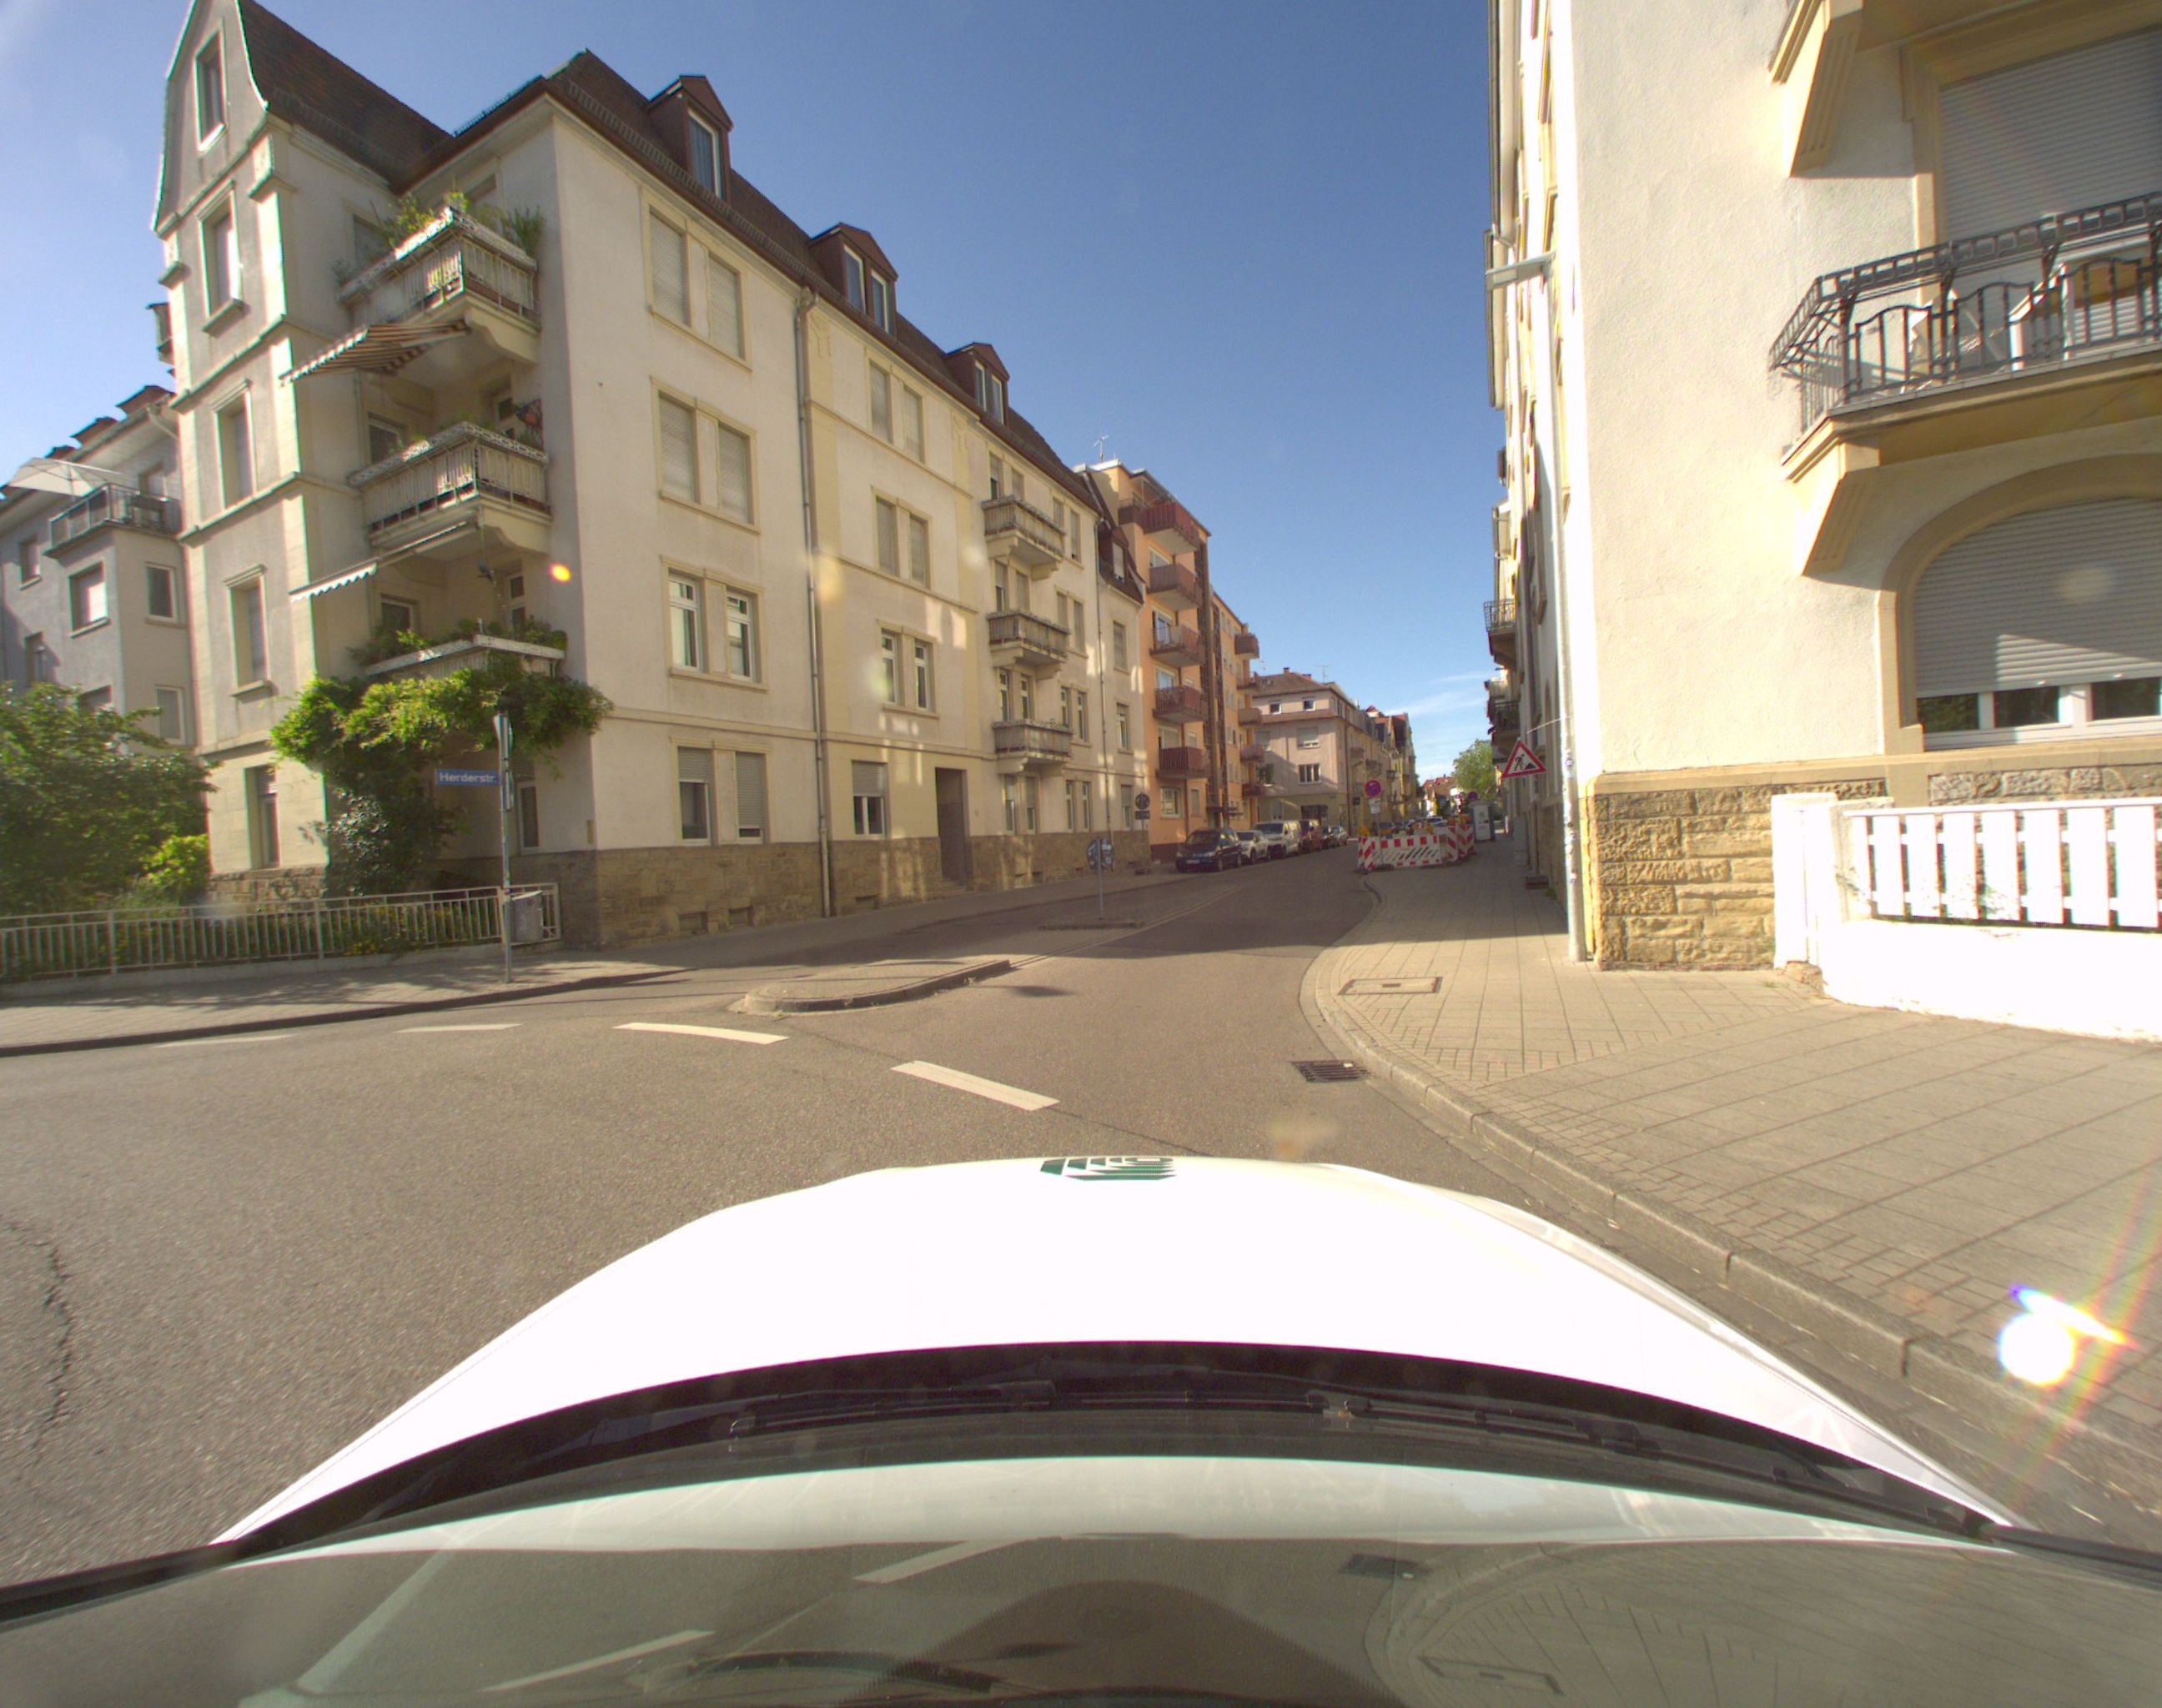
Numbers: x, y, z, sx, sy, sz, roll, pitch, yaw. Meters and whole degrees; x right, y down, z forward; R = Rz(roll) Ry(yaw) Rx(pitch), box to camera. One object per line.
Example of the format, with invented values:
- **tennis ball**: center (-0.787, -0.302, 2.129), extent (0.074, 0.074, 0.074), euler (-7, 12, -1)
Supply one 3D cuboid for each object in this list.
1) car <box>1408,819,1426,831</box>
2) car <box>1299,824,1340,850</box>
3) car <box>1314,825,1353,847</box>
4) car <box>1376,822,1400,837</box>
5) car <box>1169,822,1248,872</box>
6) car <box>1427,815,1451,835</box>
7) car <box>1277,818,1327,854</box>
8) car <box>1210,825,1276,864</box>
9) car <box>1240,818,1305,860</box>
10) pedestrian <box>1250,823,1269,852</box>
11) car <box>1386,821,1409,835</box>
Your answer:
- **car**: center (45.299, -3.860, 109.693), extent (1.985, 1.618, 4.514), euler (0, 2, 26)
- **car**: center (15.305, -1.093, 52.144), extent (1.746, 1.502, 4.024), euler (-3, 1, 26)
- **car**: center (17.769, -1.279, 57.178), extent (1.746, 1.377, 4.506), euler (-1, 2, 28)
- **car**: center (30.753, -2.458, 81.603), extent (1.663, 1.426, 4.301), euler (0, 2, 29)
- **car**: center (5.066, -0.333, 31.965), extent (1.746, 1.771, 4.320), euler (-2, 2, 27)
- **car**: center (36.634, -2.955, 83.373), extent (1.985, 1.913, 4.515), euler (0, 2, 27)
- **car**: center (12.901, -1.088, 47.266), extent (1.746, 1.925, 4.965), euler (-2, 2, 27)
- **car**: center (7.405, -0.473, 36.909), extent (1.746, 1.620, 4.321), euler (-2, 2, 27)
- **car**: center (9.882, -0.818, 41.610), extent (1.957, 1.925, 5.342), euler (-2, 2, 27)
- **pedestrian**: center (11.499, -1.054, 52.480), extent (0.915, 1.817, 1.000), euler (-2, 1, 24)
- **car**: center (35.340, -2.910, 90.882), extent (1.985, 1.582, 4.514), euler (0, 2, 26)
